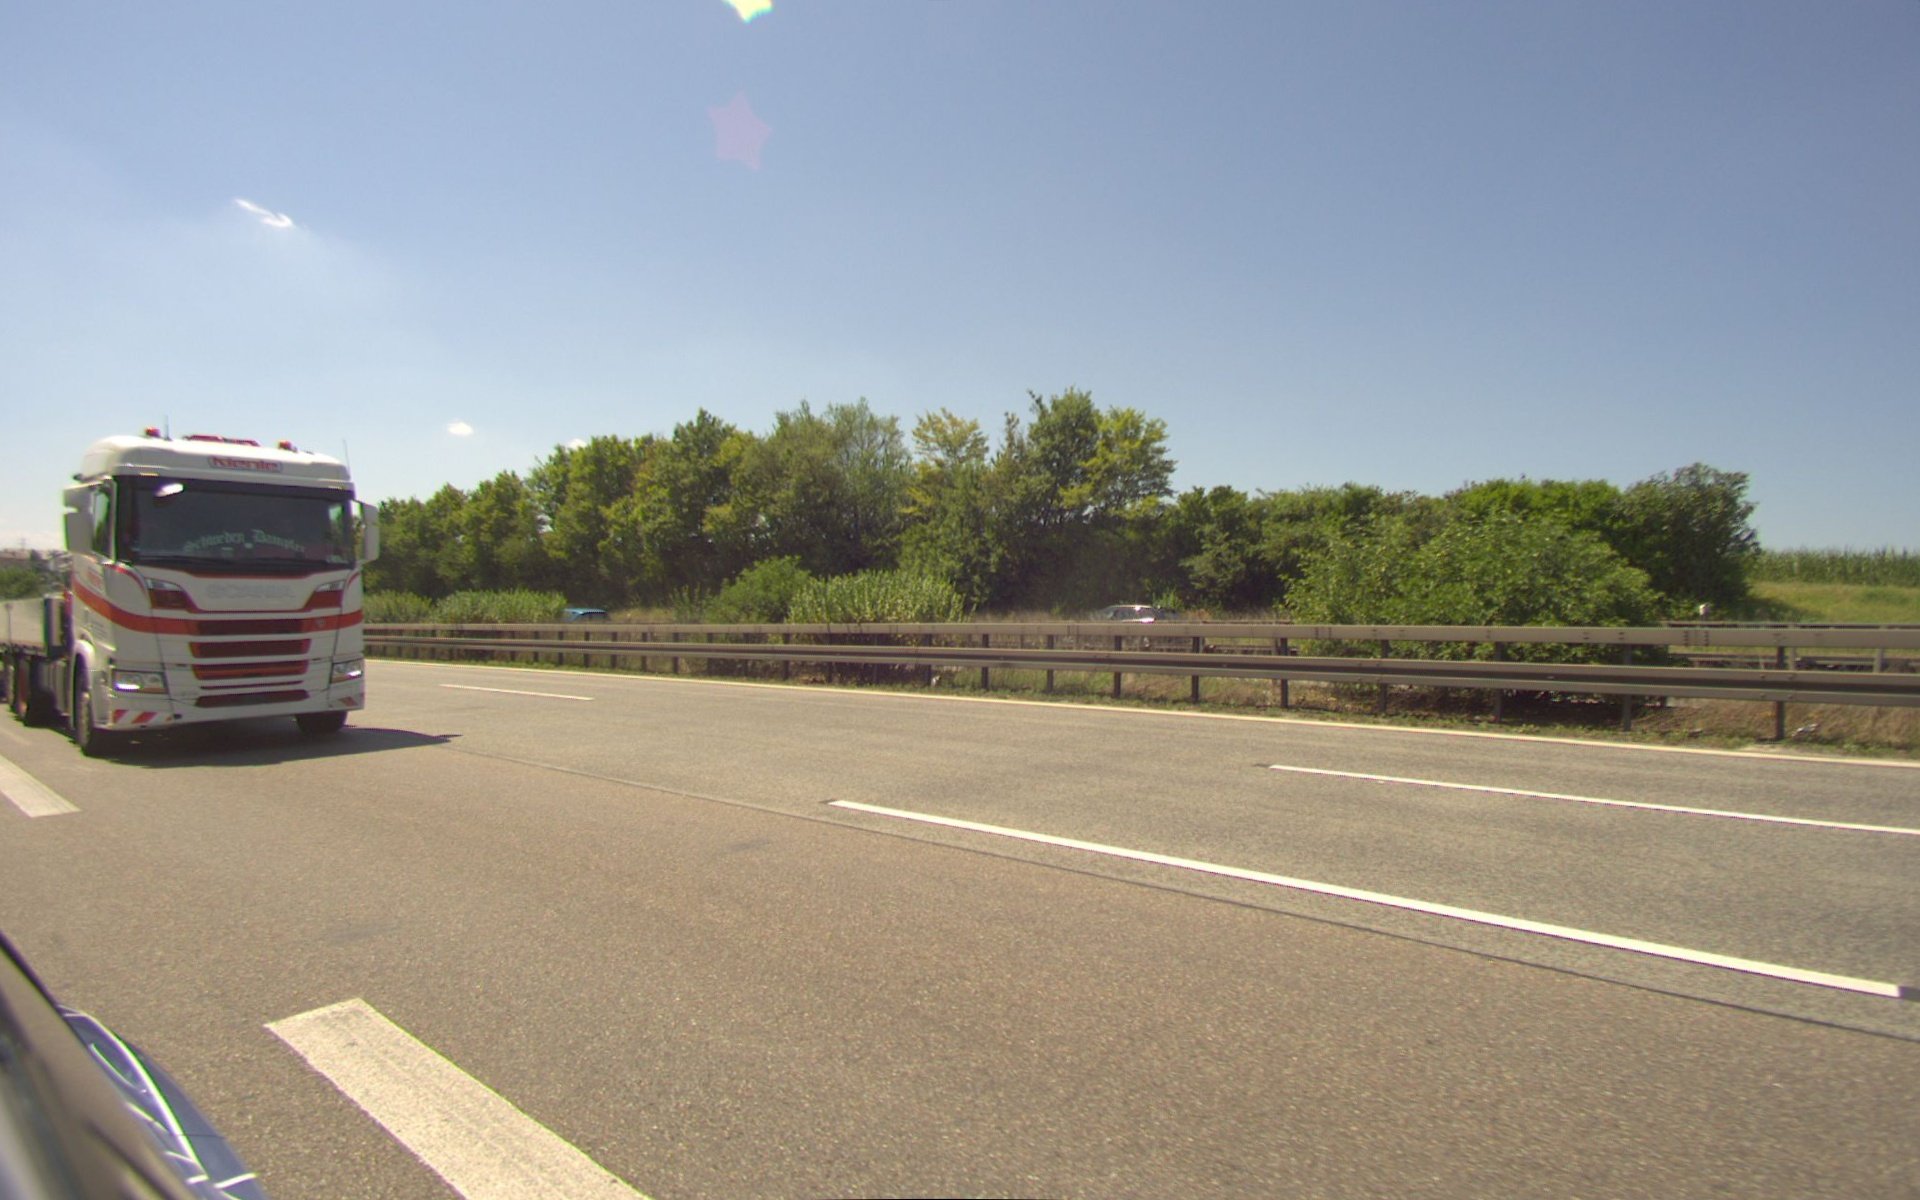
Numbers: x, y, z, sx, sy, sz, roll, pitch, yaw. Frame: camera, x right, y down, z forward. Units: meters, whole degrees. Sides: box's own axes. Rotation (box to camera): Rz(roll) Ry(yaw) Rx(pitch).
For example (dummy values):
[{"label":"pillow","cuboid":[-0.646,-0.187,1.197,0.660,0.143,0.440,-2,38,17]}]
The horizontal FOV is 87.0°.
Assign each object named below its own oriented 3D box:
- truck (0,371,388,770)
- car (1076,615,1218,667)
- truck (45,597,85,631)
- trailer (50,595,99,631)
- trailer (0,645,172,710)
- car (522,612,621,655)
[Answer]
[{"label":"truck","cuboid":[-11.521,-0.196,14.249,10.666,3.831,2.686,-1,-1,41]},{"label":"car","cuboid":[5.812,1.237,31.701,4.048,1.499,1.803,-1,-1,41]},{"label":"truck","cuboid":[-105.000,1.690,118.681,5.739,3.918,2.668,-1,-1,39]},{"label":"trailer","cuboid":[-101.039,1.537,115.398,9.724,3.918,2.663,-1,-1,39]},{"label":"trailer","cuboid":[-18.400,1.449,20.293,7.756,0.941,2.686,-1,-1,41]},{"label":"car","cuboid":[-14.526,1.219,37.756,3.917,1.499,1.803,-1,-1,41]}]
